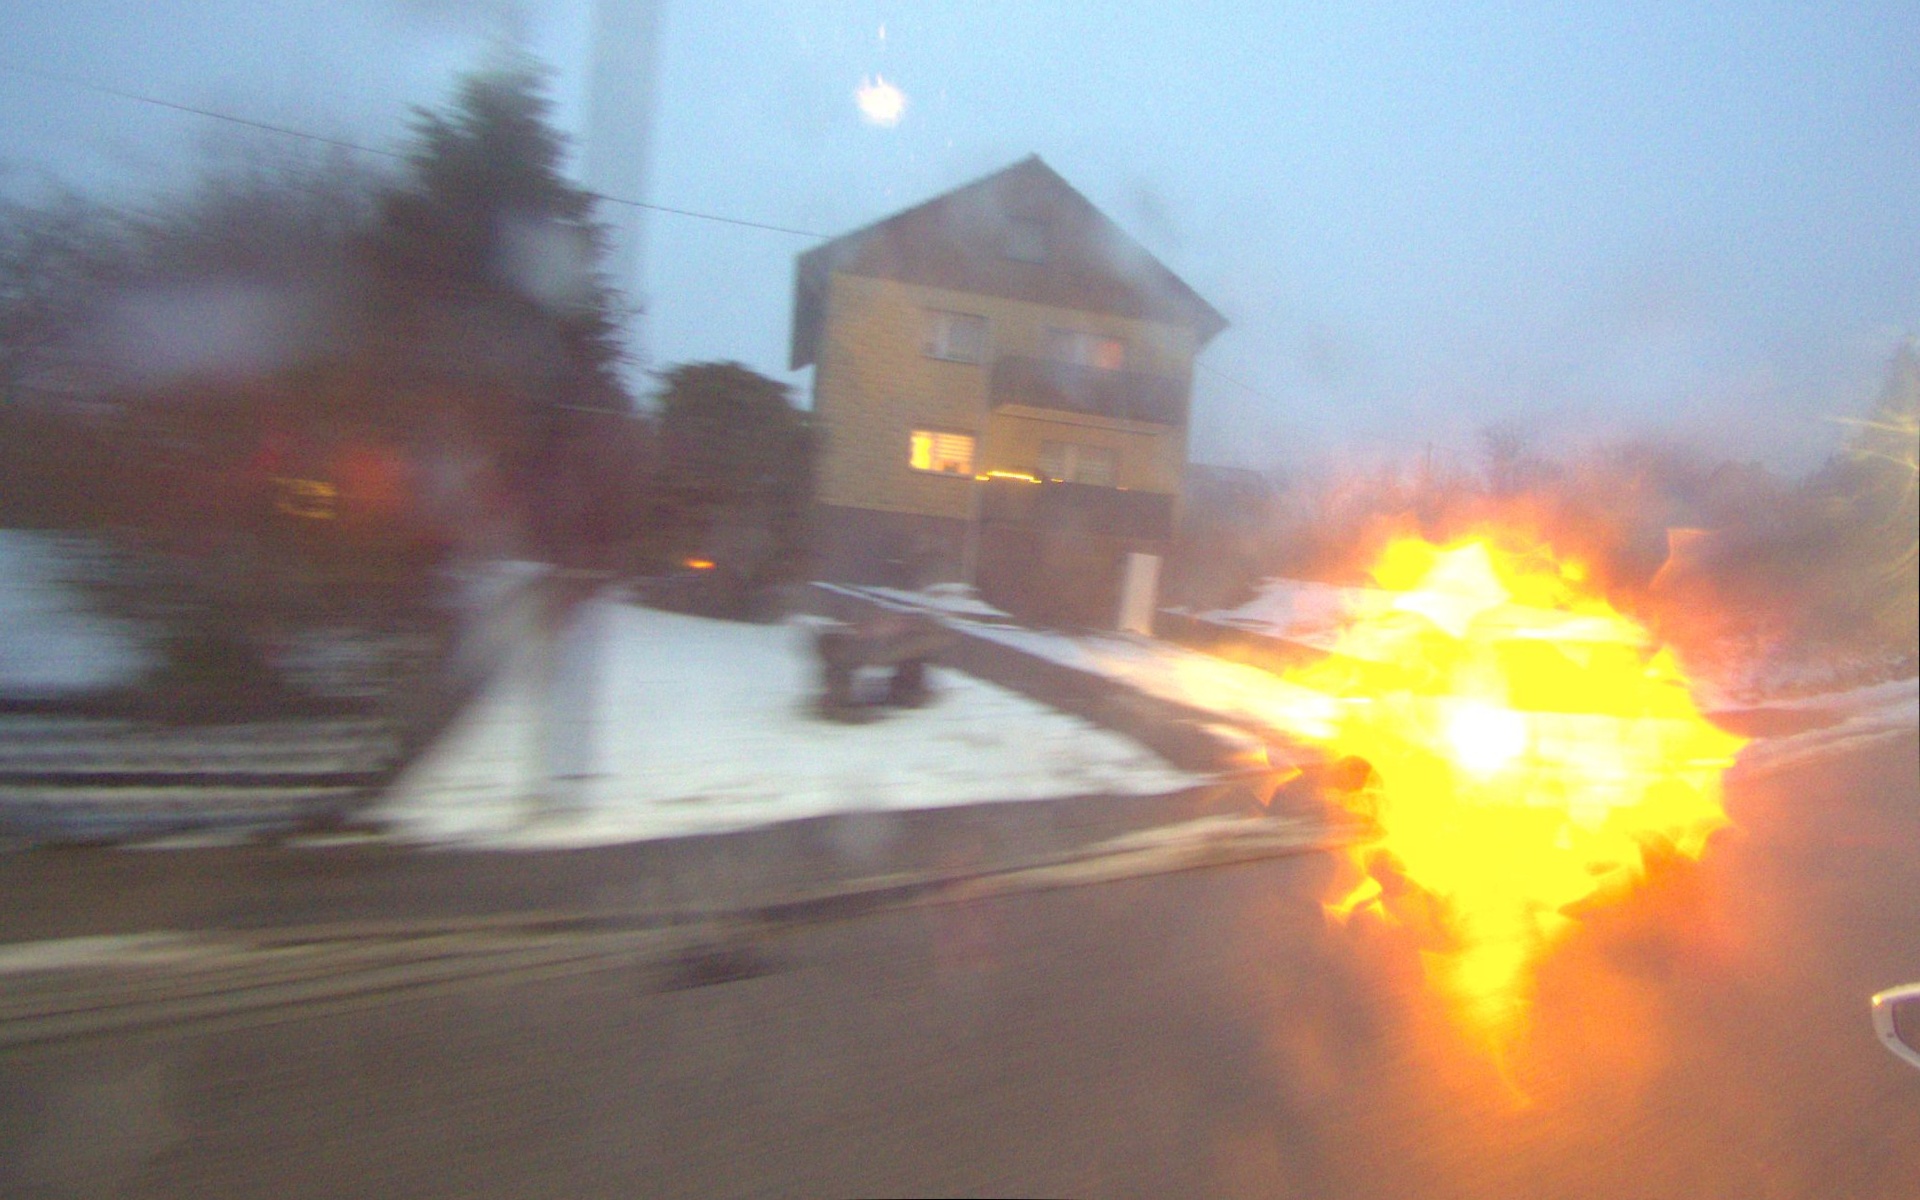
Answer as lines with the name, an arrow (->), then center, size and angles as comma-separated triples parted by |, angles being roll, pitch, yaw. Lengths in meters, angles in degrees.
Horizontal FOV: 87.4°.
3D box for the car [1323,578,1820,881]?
car -> 4.253, 0.697, 7.858 | 1.865, 1.631, 4.002 | 2, 2, 9
